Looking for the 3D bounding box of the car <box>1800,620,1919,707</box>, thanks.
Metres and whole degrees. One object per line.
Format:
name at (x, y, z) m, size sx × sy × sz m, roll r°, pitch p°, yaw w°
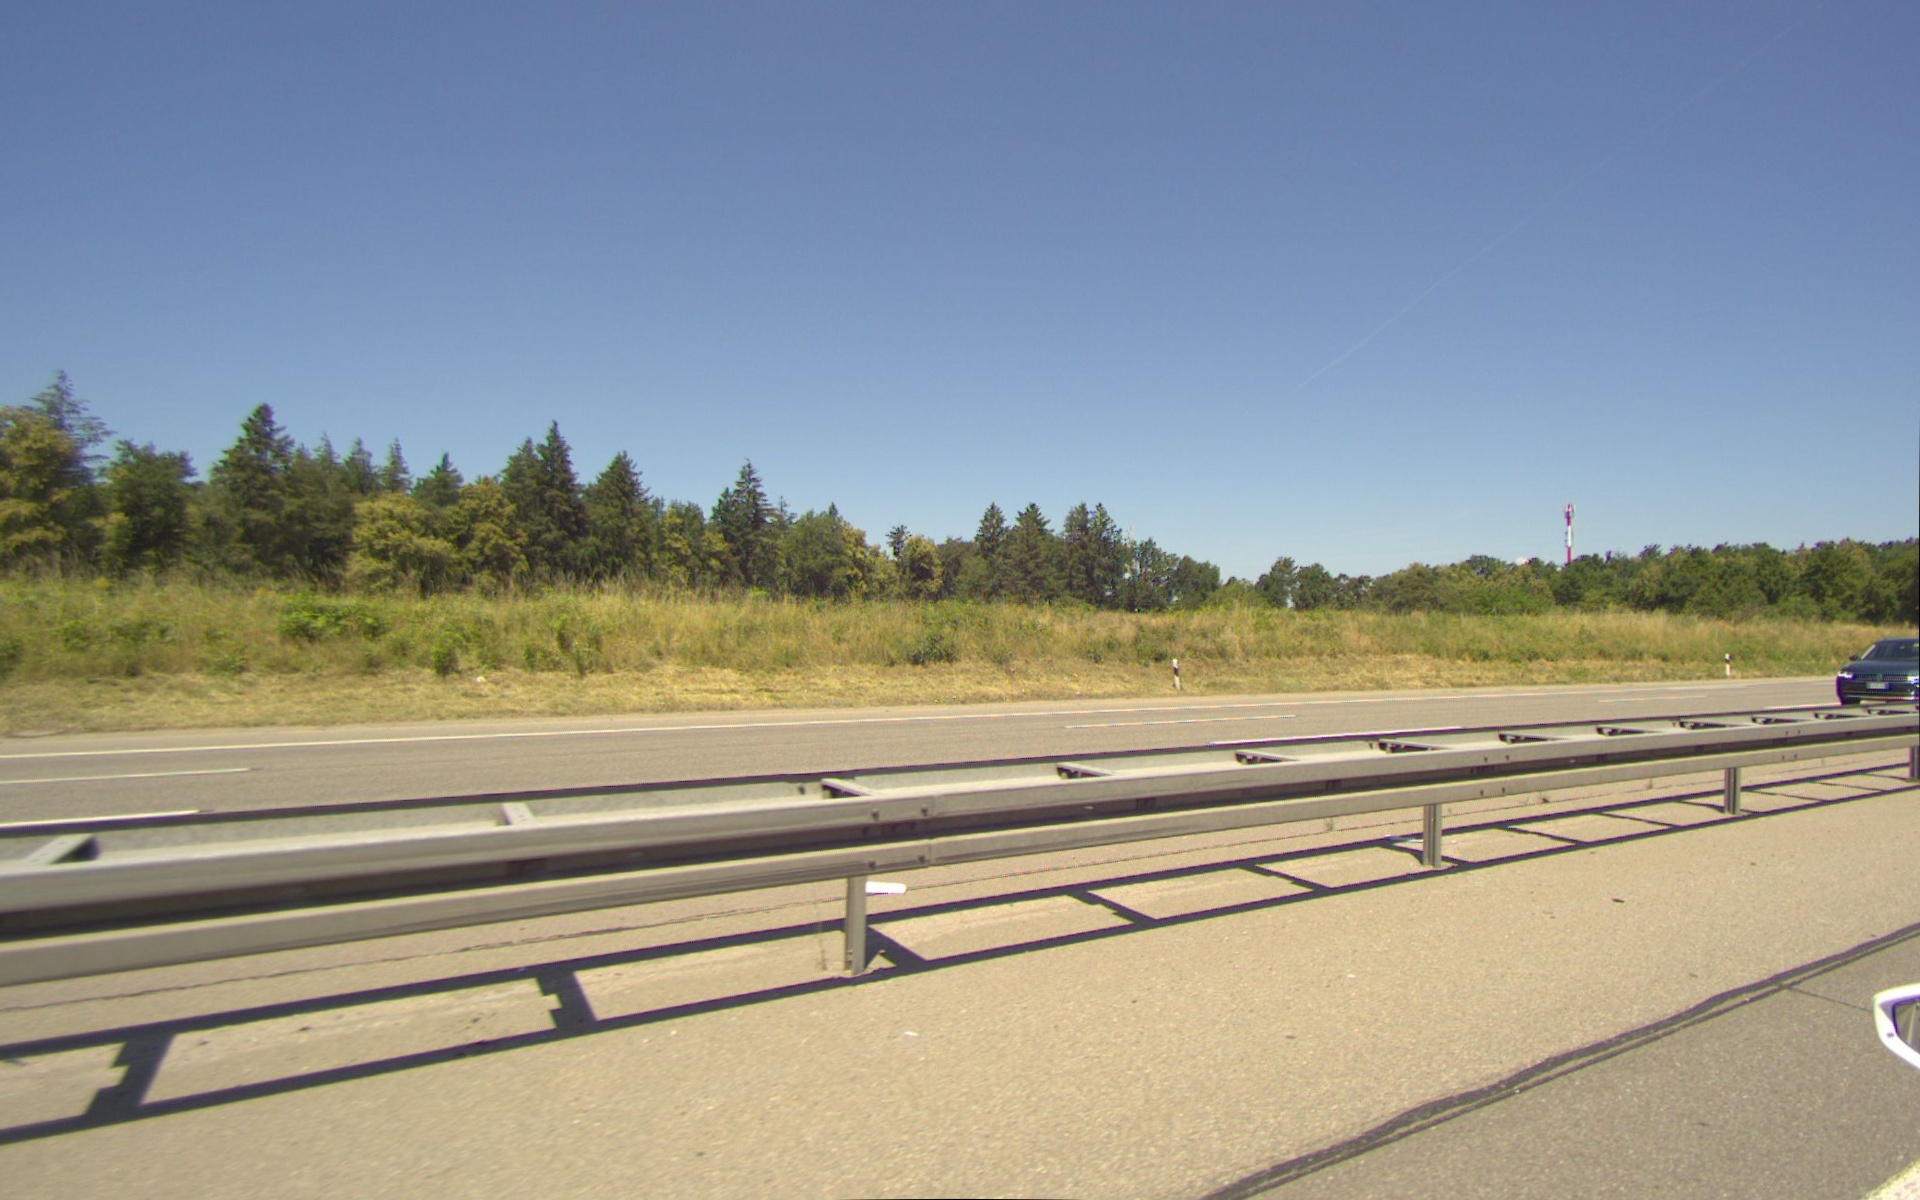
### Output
car at (22.934, 1.517, 24.319) m, size 5.164 × 1.919 × 2.353 m, roll 2°, pitch -3°, yaw -31°
